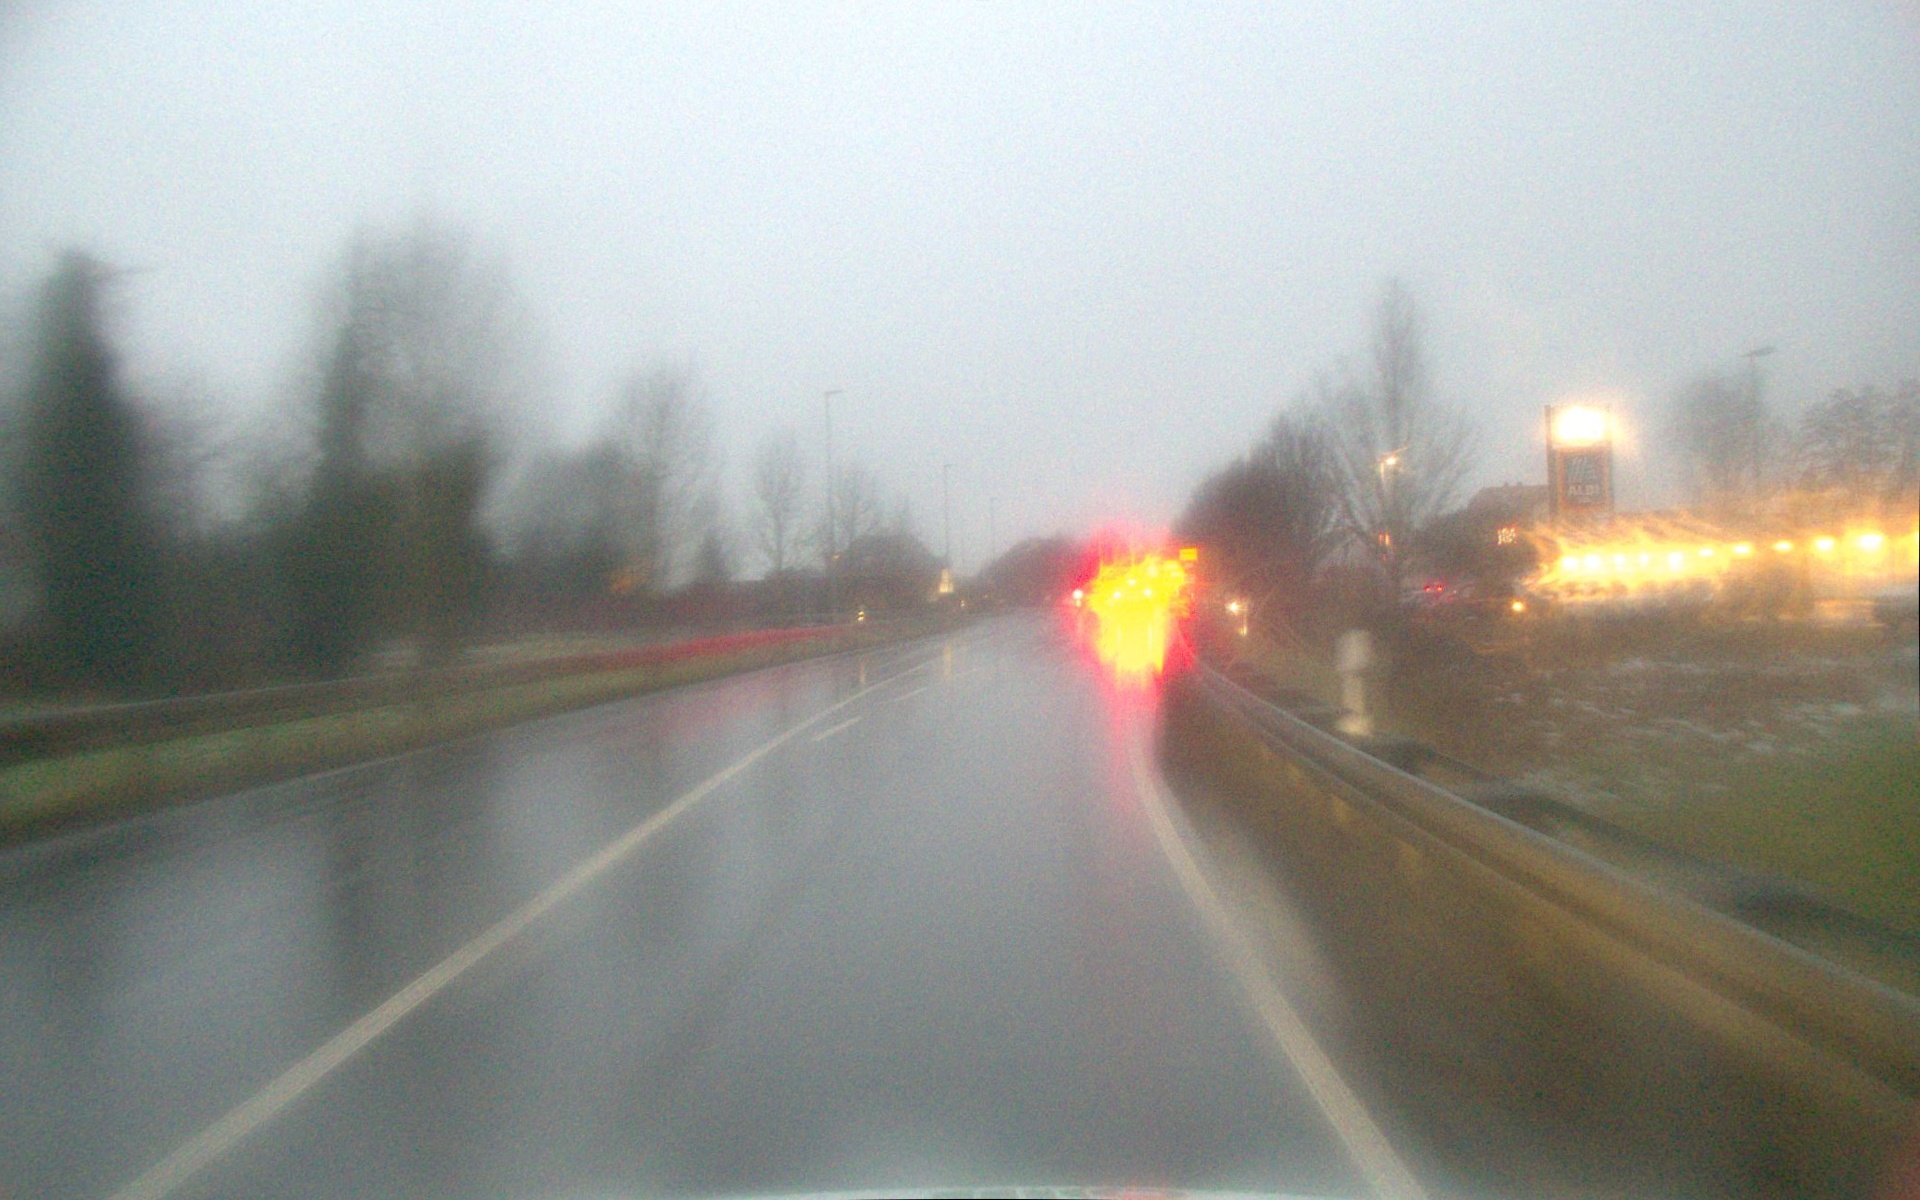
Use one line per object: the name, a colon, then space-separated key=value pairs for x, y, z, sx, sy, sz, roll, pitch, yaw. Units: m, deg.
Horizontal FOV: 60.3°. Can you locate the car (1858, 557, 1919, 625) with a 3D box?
car: x=26.866 y=-0.309 z=44.542 sx=4.304 sy=1.744 sz=1.999 roll=-2 pitch=0 yaw=-3

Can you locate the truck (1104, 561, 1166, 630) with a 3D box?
truck: x=8.293 y=-0.202 z=77.790 sx=2.478 sy=2.919 sz=5.927 roll=-4 pitch=0 yaw=8

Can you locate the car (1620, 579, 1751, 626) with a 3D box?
car: x=25.875 y=0.086 z=59.023 sx=3.792 sy=1.503 sz=1.996 roll=-2 pitch=0 yaw=-9

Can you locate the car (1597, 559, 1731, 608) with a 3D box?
car: x=26.150 y=-0.608 z=61.507 sx=4.169 sy=1.658 sz=1.996 roll=-2 pitch=1 yaw=-10

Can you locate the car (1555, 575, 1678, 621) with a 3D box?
car: x=25.420 y=-0.058 z=64.136 sx=4.047 sy=1.447 sz=1.661 roll=-4 pitch=-1 yaw=-5

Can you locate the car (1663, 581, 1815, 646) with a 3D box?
car: x=26.074 y=0.430 z=55.431 sx=4.170 sy=1.886 sz=1.996 roll=-3 pitch=0 yaw=-9
